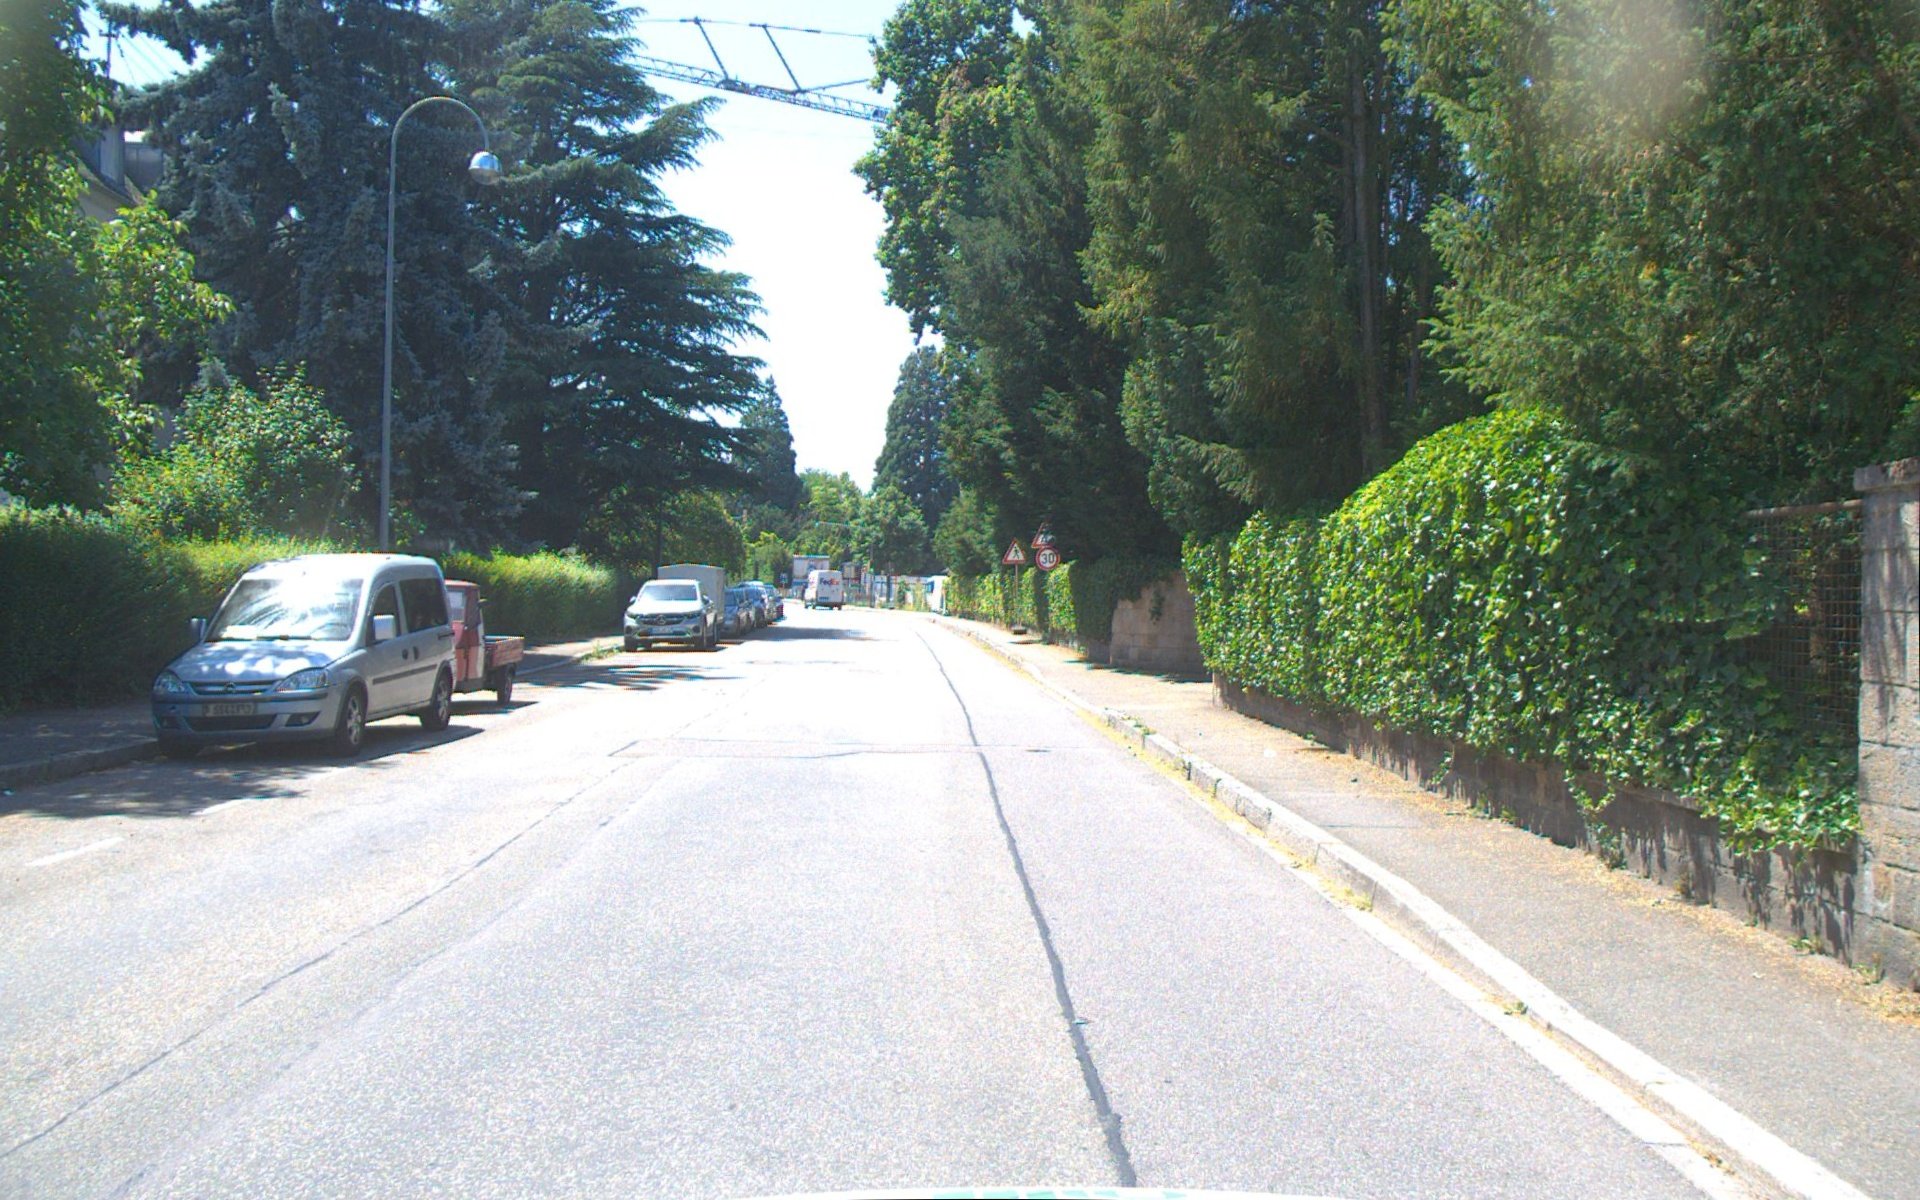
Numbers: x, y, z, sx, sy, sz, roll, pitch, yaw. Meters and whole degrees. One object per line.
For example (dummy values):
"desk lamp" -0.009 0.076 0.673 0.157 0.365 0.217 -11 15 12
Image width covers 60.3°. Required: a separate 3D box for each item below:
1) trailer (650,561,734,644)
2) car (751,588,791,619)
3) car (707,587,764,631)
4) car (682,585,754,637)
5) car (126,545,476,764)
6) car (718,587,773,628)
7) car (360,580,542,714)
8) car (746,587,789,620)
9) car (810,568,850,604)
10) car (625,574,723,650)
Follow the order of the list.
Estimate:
"trailer" -7.120 0.059 44.312 1.811 2.076 4.160 -1 0 -4
"car" -9.395 0.157 82.278 1.654 1.470 4.134 0 0 -2
"car" -7.581 0.282 56.104 1.551 1.414 3.881 1 0 -2
"car" -7.281 0.318 50.185 1.675 1.464 4.320 -1 0 -2
"car" -6.005 0.430 15.662 1.614 1.782 4.354 0 0 -1
"car" -7.926 0.238 61.347 1.654 1.470 4.134 0 0 -2
"car" -6.257 0.536 20.590 1.383 1.529 2.840 -1 0 -1
"car" -8.944 0.157 77.103 1.654 1.470 4.134 0 0 -2
"car" -8.775 -0.938 111.375 2.105 2.356 4.839 0 0 -11
"car" -6.822 0.266 39.880 1.814 1.700 4.708 -1 0 -4
